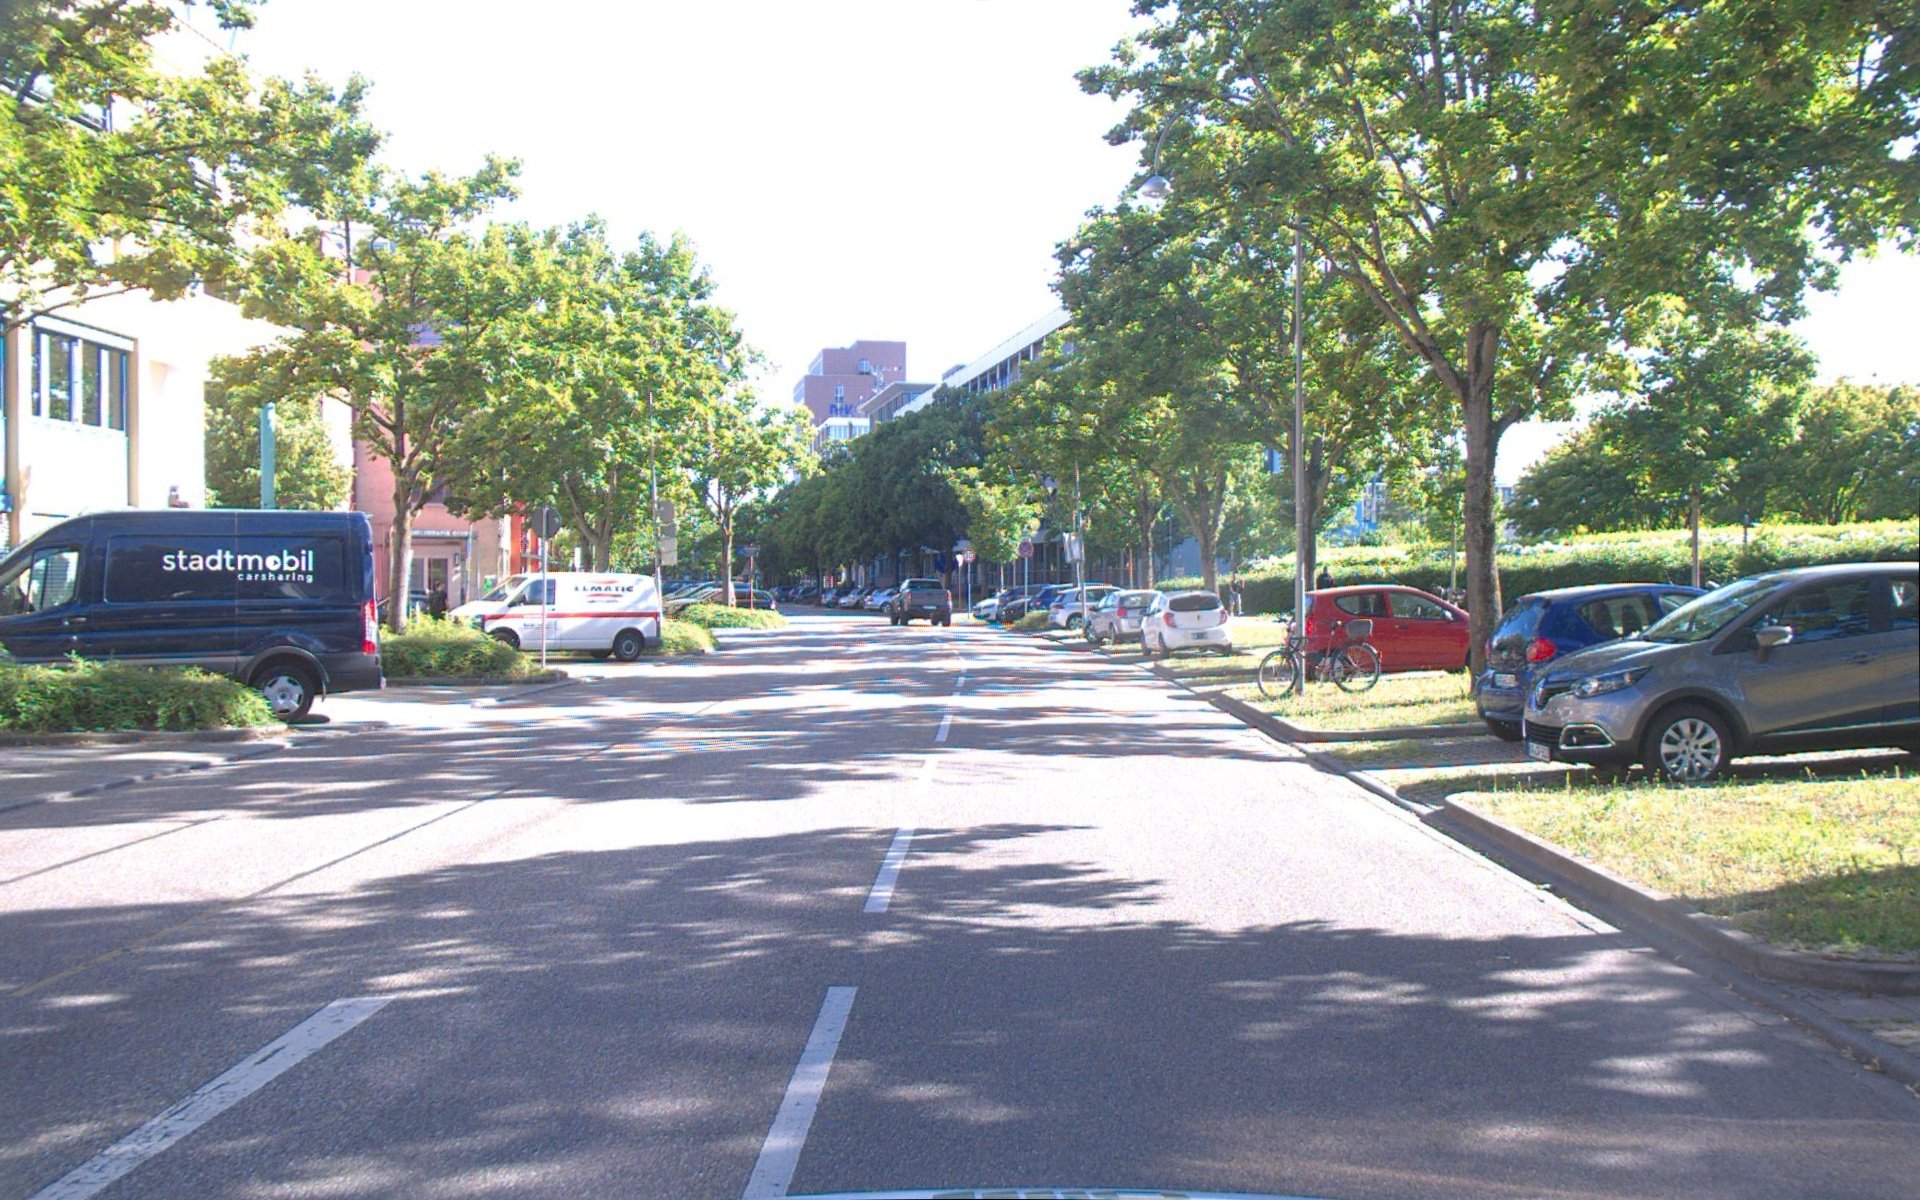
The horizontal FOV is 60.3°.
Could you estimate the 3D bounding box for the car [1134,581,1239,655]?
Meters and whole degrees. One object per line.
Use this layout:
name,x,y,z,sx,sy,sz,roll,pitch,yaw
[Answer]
car,5.165,0.374,38.114,1.611,1.519,3.763,-3,1,-4

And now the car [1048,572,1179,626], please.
car,5.024,-0.036,54.576,4.010,1.454,1.641,-4,1,-5

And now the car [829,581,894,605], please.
car,-6.990,-0.479,117.095,4.220,1.519,1.994,-2,1,-18

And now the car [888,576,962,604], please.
car,-2.206,-0.623,103.623,4.430,1.569,1.919,-2,1,-8

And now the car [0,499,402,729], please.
car,-9.512,0.140,19.395,5.420,2.479,2.168,0,1,-26

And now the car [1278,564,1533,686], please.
car,6.706,0.358,25.131,3.364,1.571,1.627,-4,0,1

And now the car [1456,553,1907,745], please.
car,6.724,0.427,15.672,3.393,1.505,1.858,-3,0,-2

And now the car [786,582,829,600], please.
car,-14.217,-0.851,154.207,3.878,1.541,1.808,-2,1,-11

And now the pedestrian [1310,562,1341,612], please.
pedestrian,11.851,-0.421,53.680,0.710,1.615,0.851,-1,0,-10

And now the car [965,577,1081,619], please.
car,2.669,-0.071,70.295,4.479,1.541,1.972,-3,0,-18

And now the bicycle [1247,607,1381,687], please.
bicycle,4.757,0.632,22.254,1.713,1.008,0.530,-2,0,13

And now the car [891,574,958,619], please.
car,-1.455,-0.134,65.589,1.958,1.668,3.989,1,0,-12

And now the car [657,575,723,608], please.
car,-18.592,-0.604,114.145,4.406,2.126,2.078,1,0,-10

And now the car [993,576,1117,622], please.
car,3.725,-0.050,65.303,4.469,1.541,2.153,-3,0,-11

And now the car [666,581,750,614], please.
car,-11.824,-0.122,77.636,3.822,1.448,1.735,1,0,-12

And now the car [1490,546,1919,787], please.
car,6.503,0.440,12.882,4.107,1.573,1.860,-3,0,2

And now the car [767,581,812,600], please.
car,-17.293,-0.994,168.045,4.278,1.733,1.806,-2,1,-15

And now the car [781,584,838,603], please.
car,-13.305,-0.555,145.797,4.743,1.444,2.025,-2,1,-14

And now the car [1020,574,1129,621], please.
car,4.328,-0.109,62.671,3.737,1.473,1.741,-5,1,-10

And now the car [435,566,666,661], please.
car,-9.235,0.264,37.509,4.718,2.019,1.975,0,1,-36

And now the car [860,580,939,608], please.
car,-3.666,-0.370,99.698,4.496,1.501,1.742,-2,1,-11

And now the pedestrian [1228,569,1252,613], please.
pedestrian,10.214,-0.331,60.335,0.595,1.569,0.935,-1,0,-9

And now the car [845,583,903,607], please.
car,-5.964,-0.347,114.434,3.685,1.519,1.608,-2,1,-18

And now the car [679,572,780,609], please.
car,-9.733,-0.401,70.012,4.183,1.448,1.736,1,0,-8

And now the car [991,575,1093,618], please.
car,3.355,-0.137,67.826,3.807,1.541,1.746,-3,0,-11

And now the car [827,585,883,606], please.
car,-7.845,-0.352,123.677,3.902,1.444,1.704,-2,1,-14

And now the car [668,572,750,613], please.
car,-12.172,-0.358,80.042,3.822,1.843,1.781,1,0,-12

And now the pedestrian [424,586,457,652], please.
pedestrian,-14.274,0.513,45.457,0.644,1.756,1.020,-2,0,-7

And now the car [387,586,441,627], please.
car,-21.247,0.229,64.258,1.710,1.468,4.104,-2,1,-22

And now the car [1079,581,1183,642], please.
car,4.729,0.294,46.347,1.775,1.519,4.615,-3,1,-8

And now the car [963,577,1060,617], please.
car,2.265,-0.132,72.857,3.886,1.541,1.693,-3,0,-18

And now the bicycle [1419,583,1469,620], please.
bicycle,11.830,0.031,40.454,0.342,0.881,1.399,-2,0,-23
